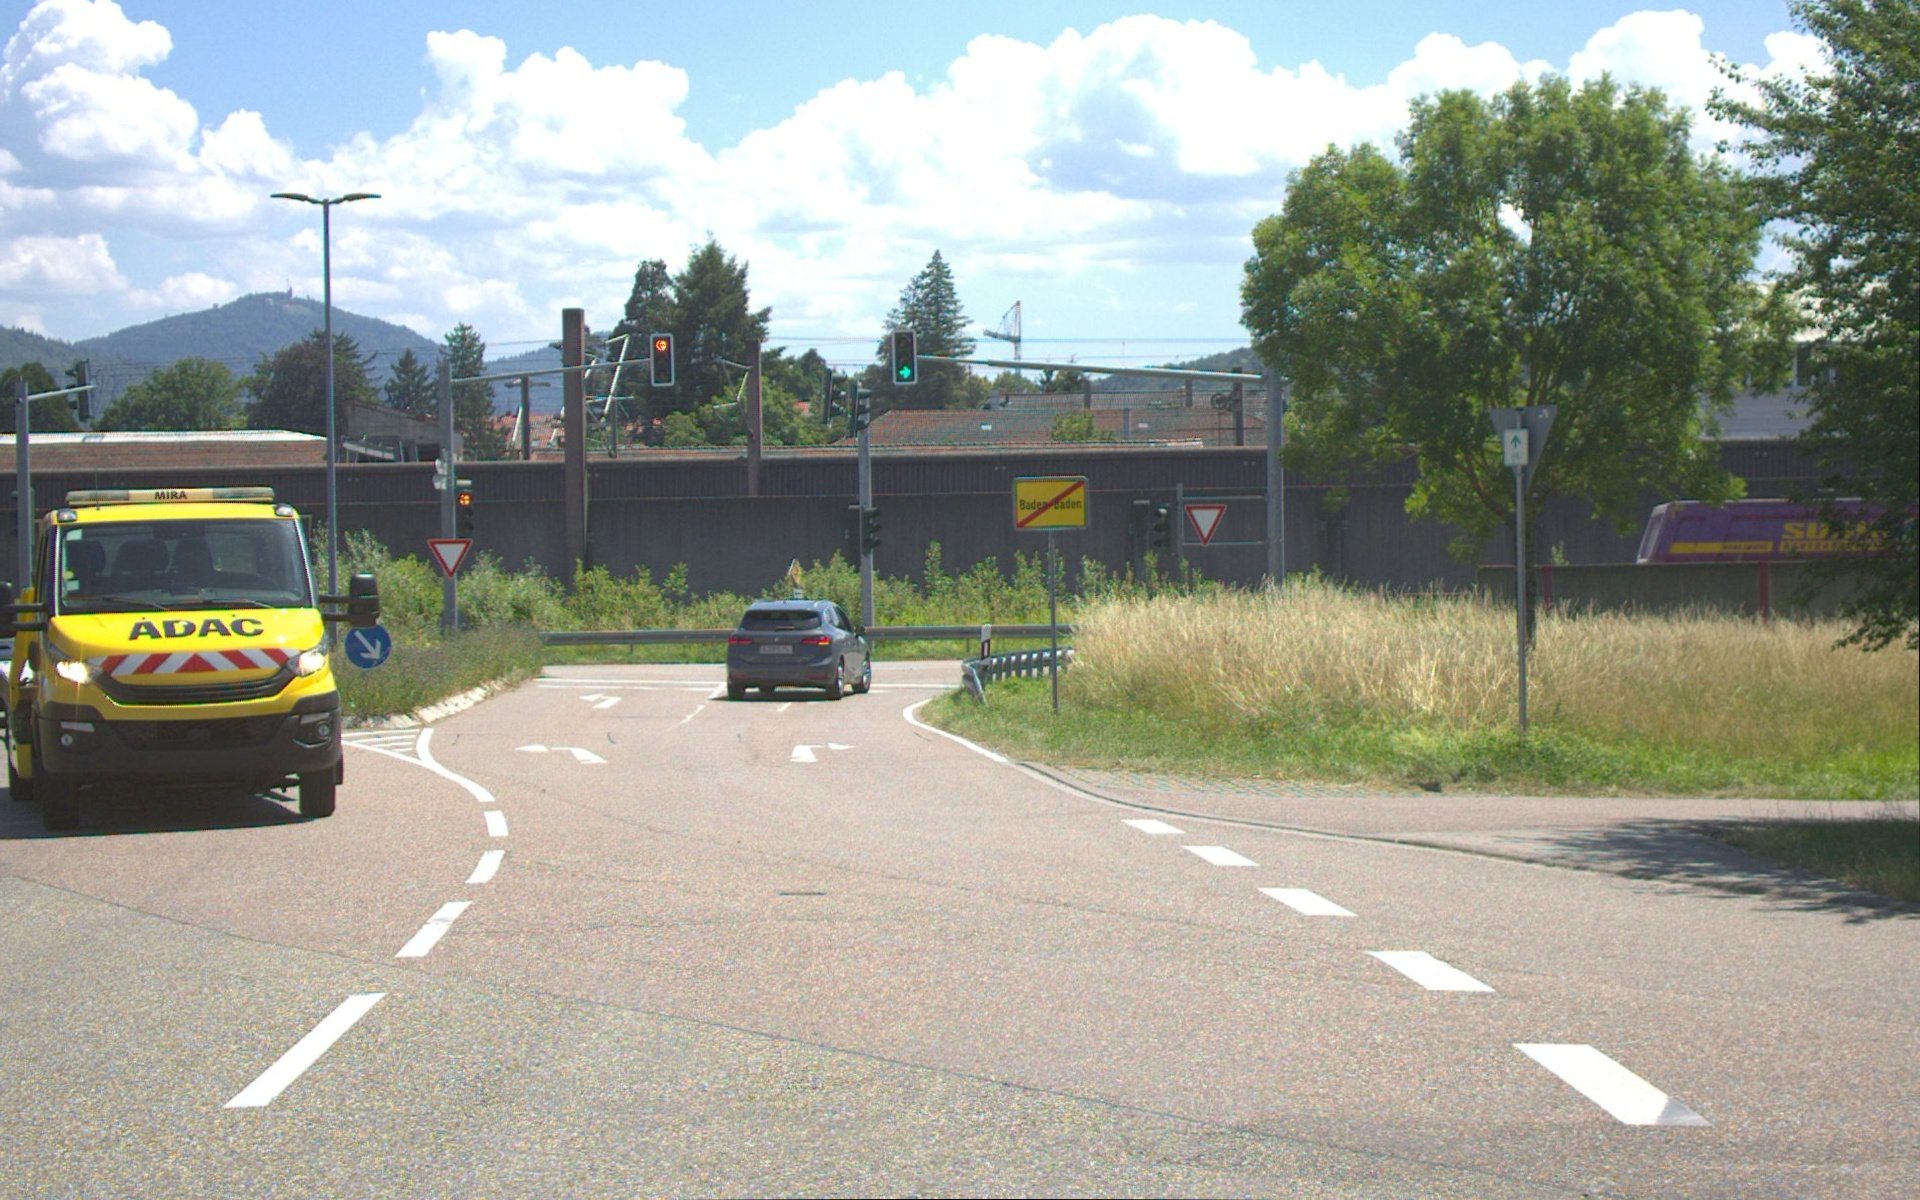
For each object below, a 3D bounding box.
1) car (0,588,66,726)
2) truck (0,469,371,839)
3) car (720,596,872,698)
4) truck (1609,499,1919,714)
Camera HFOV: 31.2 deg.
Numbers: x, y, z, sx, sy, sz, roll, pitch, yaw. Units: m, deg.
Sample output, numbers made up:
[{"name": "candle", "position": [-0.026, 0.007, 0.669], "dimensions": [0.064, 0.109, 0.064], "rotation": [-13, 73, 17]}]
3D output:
[{"name": "car", "position": [-13.094, 0.719, 45.740], "dimensions": [1.901, 1.696, 4.001], "rotation": [1, 1, -20]}, {"name": "truck", "position": [-6.387, 0.399, 26.872], "dimensions": [2.310, 2.330, 9.053], "rotation": [-2, 0, -17]}, {"name": "car", "position": [-2.599, 0.722, 55.370], "dimensions": [1.994, 1.498, 4.000], "rotation": [1, 1, 4]}, {"name": "truck", "position": [19.076, 0.142, 68.517], "dimensions": [11.770, 4.166, 3.005], "rotation": [0, 0, 3]}]
